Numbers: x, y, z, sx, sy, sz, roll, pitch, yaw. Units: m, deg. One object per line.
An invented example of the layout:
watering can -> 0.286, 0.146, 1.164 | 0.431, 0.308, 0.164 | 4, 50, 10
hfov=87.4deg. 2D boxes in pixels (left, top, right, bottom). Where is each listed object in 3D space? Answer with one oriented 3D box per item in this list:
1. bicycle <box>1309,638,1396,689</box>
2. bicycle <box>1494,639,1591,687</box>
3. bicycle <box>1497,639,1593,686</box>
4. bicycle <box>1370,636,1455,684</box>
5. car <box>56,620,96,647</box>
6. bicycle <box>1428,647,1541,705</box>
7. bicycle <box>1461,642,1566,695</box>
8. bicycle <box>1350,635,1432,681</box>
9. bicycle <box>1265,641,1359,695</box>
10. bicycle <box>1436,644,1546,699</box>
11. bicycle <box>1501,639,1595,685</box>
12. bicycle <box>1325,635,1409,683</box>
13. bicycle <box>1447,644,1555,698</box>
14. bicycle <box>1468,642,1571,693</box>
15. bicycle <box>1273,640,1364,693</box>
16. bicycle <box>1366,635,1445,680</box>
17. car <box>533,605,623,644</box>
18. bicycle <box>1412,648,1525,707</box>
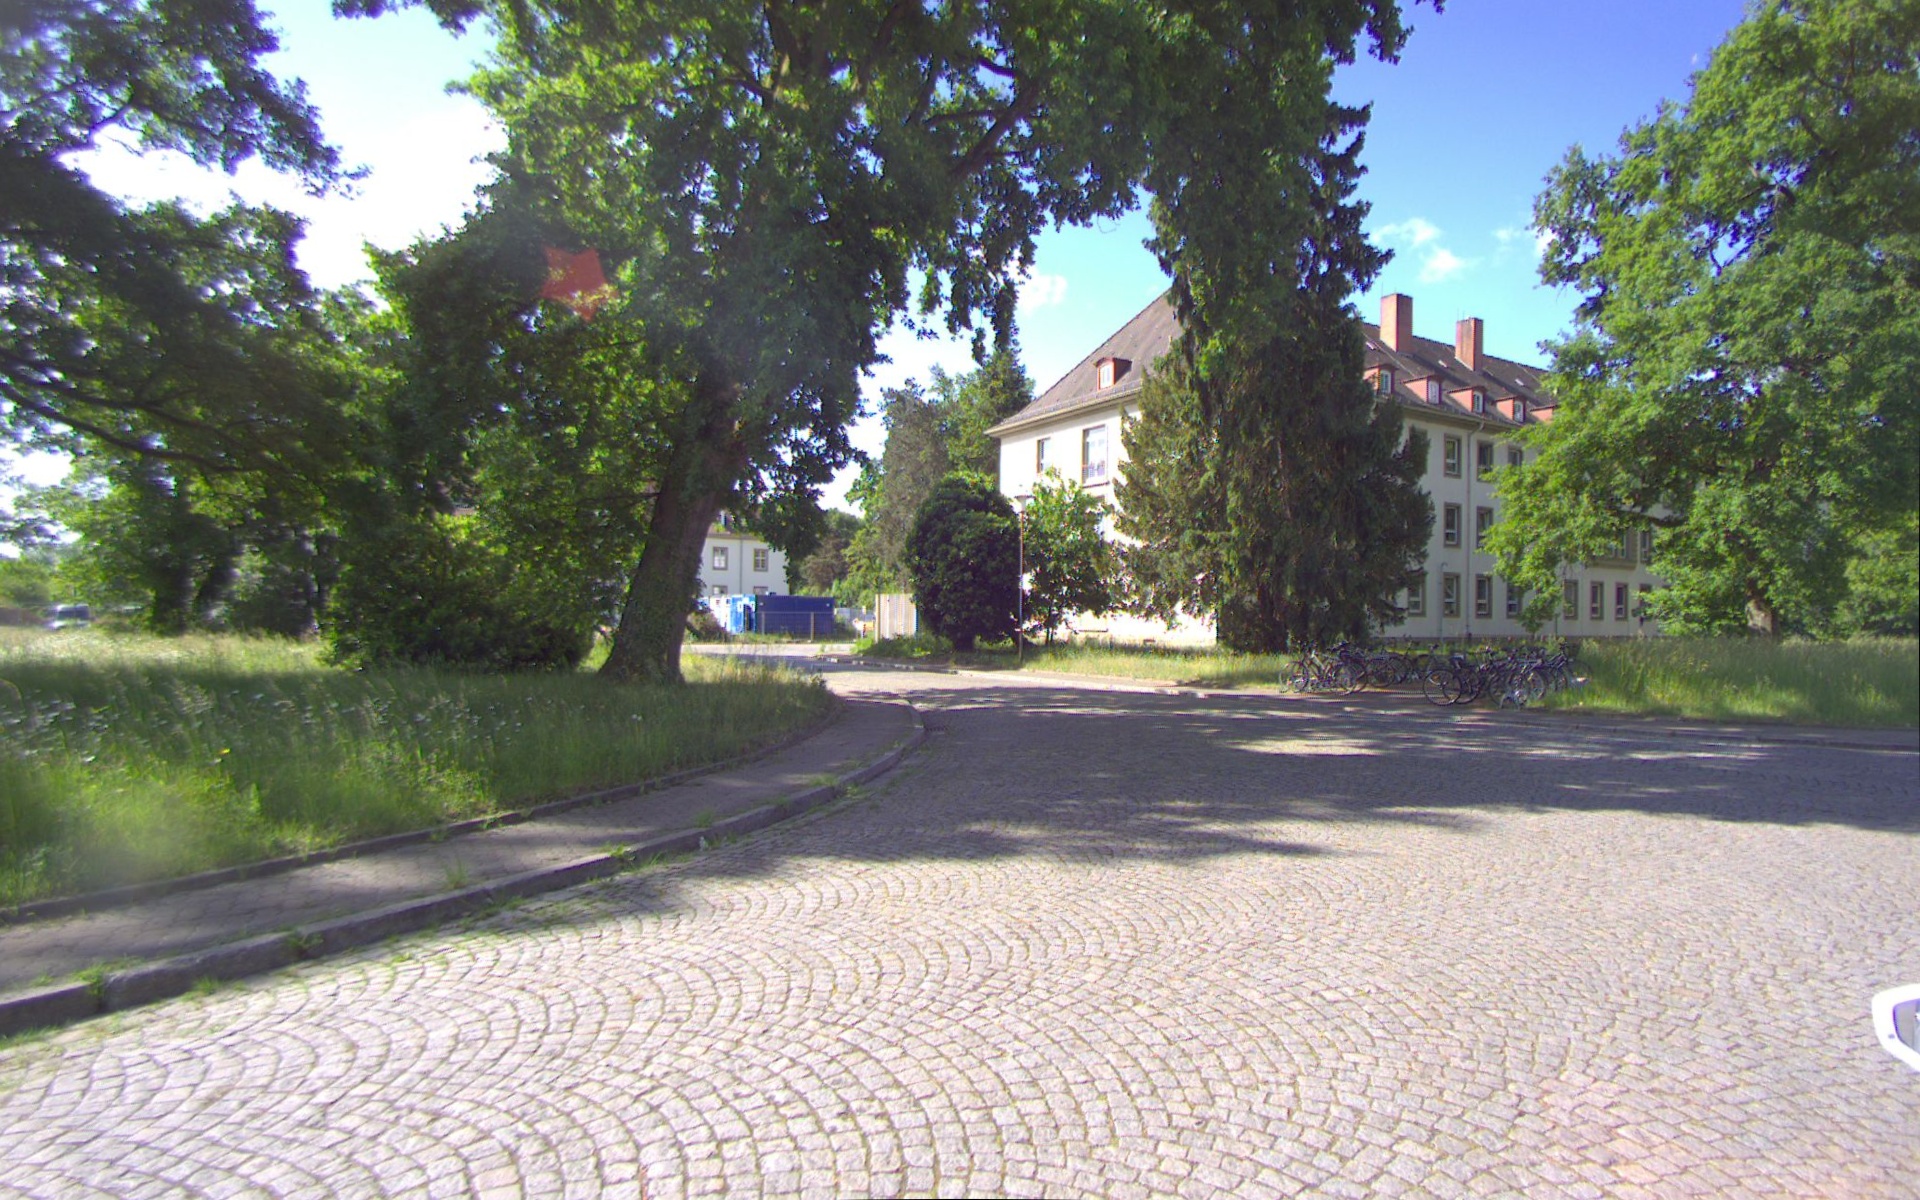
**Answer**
bicycle -> 9.401, 1.503, 24.100 | 1.885, 1.117, 0.569 | 0, 1, 31
bicycle -> 13.472, 1.455, 23.262 | 1.889, 1.072, 0.474 | -3, -3, 38
bicycle -> 13.768, 1.468, 23.664 | 1.889, 1.072, 0.474 | -3, -3, 38
bicycle -> 11.398, 1.489, 25.351 | 1.890, 1.117, 0.567 | 0, 1, 40
car -> -63.238, 2.354, 71.830 | 1.982, 1.879, 4.084 | 2, -2, -44
bicycle -> 10.108, 1.461, 19.399 | 1.885, 1.072, 0.475 | -2, -2, 30
bicycle -> 11.695, 1.444, 21.264 | 1.888, 1.072, 0.474 | -2, -3, 36
bicycle -> 11.336, 1.517, 26.453 | 1.890, 1.117, 0.567 | 0, 1, 40
bicycle -> 7.871, 1.507, 22.503 | 1.887, 1.117, 0.568 | -1, 0, 35
bicycle -> 10.713, 1.431, 20.299 | 1.888, 1.072, 0.474 | -2, -3, 36
bicycle -> 14.052, 1.479, 24.034 | 1.889, 1.072, 0.474 | -3, -3, 38
bicycle -> 10.217, 1.474, 25.239 | 1.885, 1.117, 0.569 | 0, 1, 31
bicycle -> 11.128, 1.449, 20.690 | 1.888, 1.072, 0.474 | -2, -3, 36
bicycle -> 12.217, 1.471, 21.957 | 1.889, 1.072, 0.474 | -3, -3, 38
bicycle -> 8.176, 1.500, 22.948 | 1.887, 1.117, 0.568 | -1, 0, 35
bicycle -> 12.020, 1.540, 27.131 | 1.888, 1.117, 0.568 | 0, 1, 35
car -> -24.900, 1.600, 65.487 | 5.216, 2.469, 1.974 | 1, -2, -31
bicycle -> 9.650, 1.458, 19.094 | 1.885, 1.072, 0.475 | -2, -2, 30
